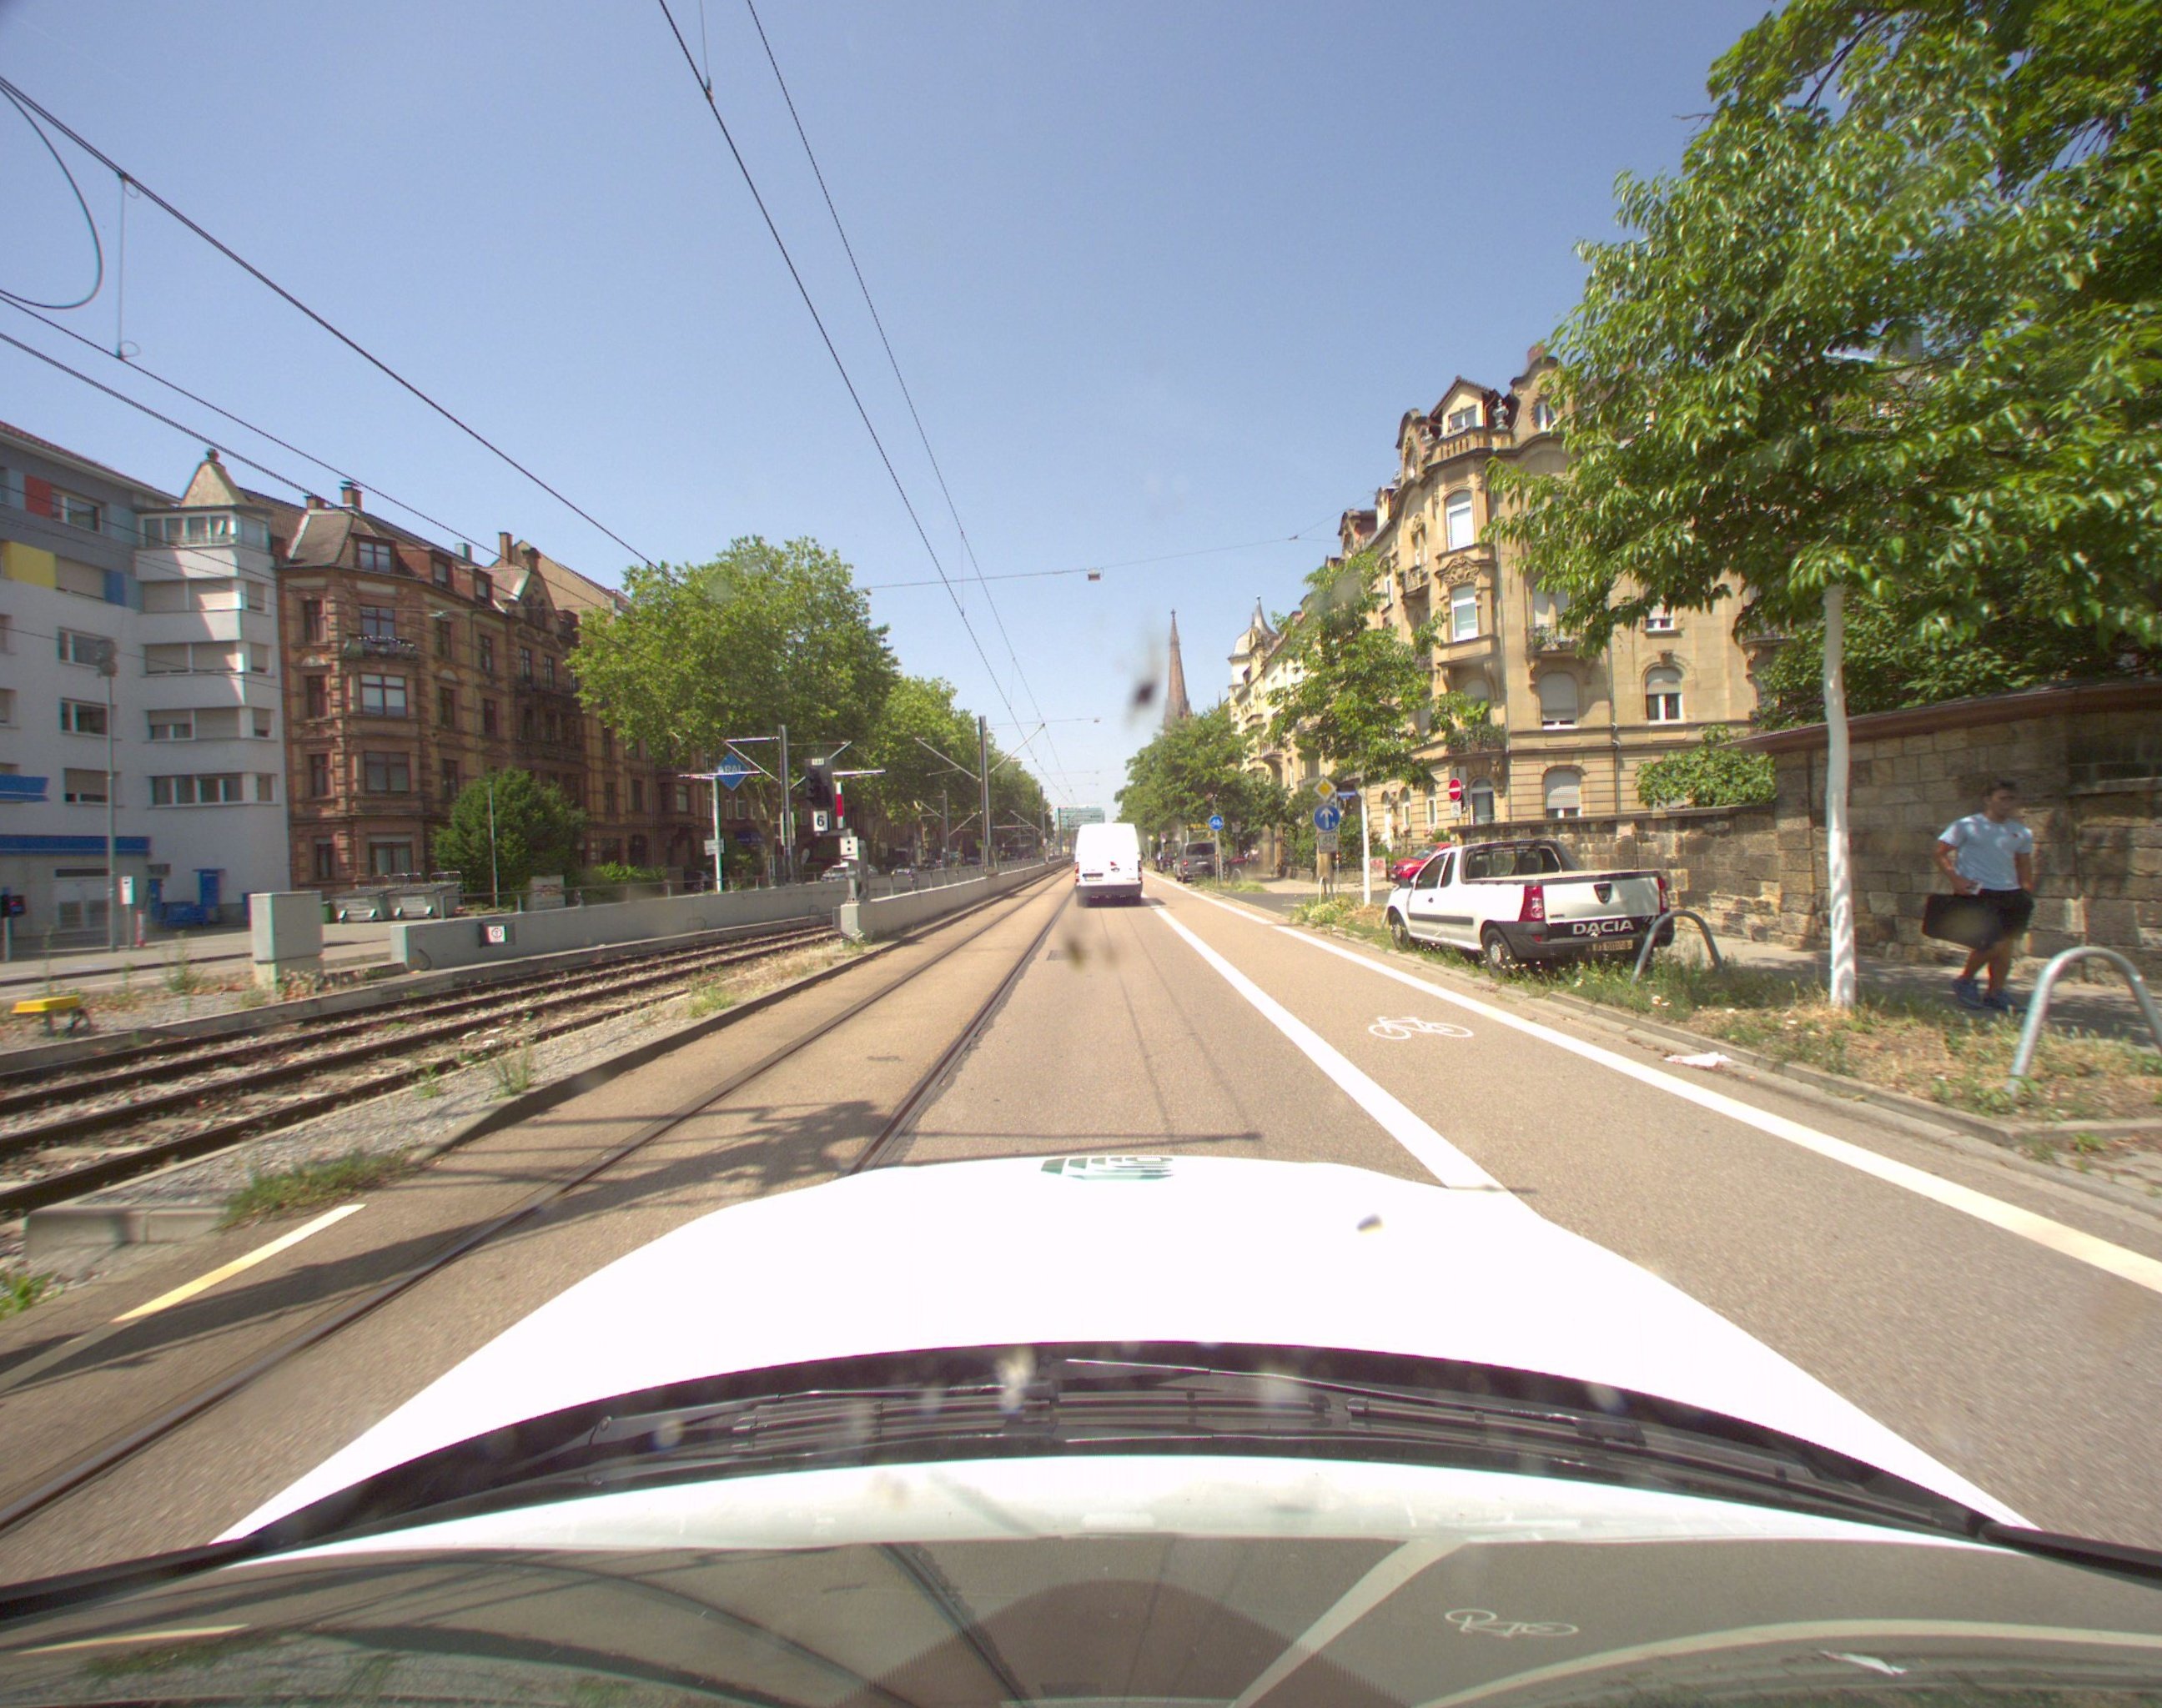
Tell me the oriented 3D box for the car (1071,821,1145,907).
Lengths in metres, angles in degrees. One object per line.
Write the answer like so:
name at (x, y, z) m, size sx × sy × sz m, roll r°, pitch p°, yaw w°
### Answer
car at (0.812, 0.283, 26.534) m, size 2.110 × 2.459 × 5.054 m, roll -2°, pitch 0°, yaw 0°

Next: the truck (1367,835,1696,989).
truck at (5.465, 0.593, 10.684) m, size 1.784 × 1.526 × 4.464 m, roll -2°, pitch 0°, yaw -1°

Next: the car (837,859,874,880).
car at (-18.155, 1.228, 65.713) m, size 1.783 × 1.556 × 4.086 m, roll -2°, pitch 0°, yaw 0°

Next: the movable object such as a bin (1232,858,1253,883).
movable object such as a bin at (6.870, 0.694, 34.650) m, size 0.783 × 1.014 × 0.651 m, roll -2°, pitch 0°, yaw 7°

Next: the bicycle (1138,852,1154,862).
bicycle at (8.049, 0.419, 100.888) m, size 1.882 × 1.182 × 0.640 m, roll -2°, pitch 0°, yaw -1°

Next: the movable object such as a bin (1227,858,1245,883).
movable object such as a bin at (6.828, 0.739, 35.893) m, size 0.742 × 1.062 × 0.497 m, roll -2°, pitch 0°, yaw 7°

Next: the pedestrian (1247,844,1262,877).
pedestrian at (8.515, 0.321, 39.964) m, size 0.549 × 1.598 × 0.728 m, roll -2°, pitch 0°, yaw 3°

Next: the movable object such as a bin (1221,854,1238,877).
movable object such as a bin at (6.693, 0.523, 36.772) m, size 0.595 × 1.011 × 0.564 m, roll -2°, pitch 0°, yaw -9°

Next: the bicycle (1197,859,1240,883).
bicycle at (6.339, 0.771, 37.491) m, size 1.880 × 0.991 × 0.469 m, roll -2°, pitch 0°, yaw -9°

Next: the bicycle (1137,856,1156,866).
bicycle at (6.472, 0.718, 81.081) m, size 1.835 × 0.953 × 0.503 m, roll -2°, pitch 0°, yaw 2°

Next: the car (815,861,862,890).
car at (-18.032, 1.561, 60.784) m, size 1.987 × 1.904 × 4.718 m, roll -2°, pitch 0°, yaw 0°

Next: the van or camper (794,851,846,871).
van or camper at (-26.538, 0.696, 82.886) m, size 4.520 × 1.836 × 1.936 m, roll -2°, pitch 0°, yaw 6°

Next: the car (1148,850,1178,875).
car at (5.603, 0.553, 56.111) m, size 1.661 × 1.530 × 4.014 m, roll -2°, pitch 0°, yaw 1°

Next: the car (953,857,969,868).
car at (-17.277, 1.152, 117.136) m, size 1.586 × 1.448 × 4.001 m, roll -2°, pitch 0°, yaw 1°

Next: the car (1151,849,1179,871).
car at (6.382, 0.423, 62.200) m, size 1.723 × 1.536 × 4.405 m, roll -2°, pitch 0°, yaw 1°

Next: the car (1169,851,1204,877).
car at (6.280, 0.557, 48.612) m, size 1.605 × 1.405 × 4.001 m, roll -2°, pitch 0°, yaw 1°

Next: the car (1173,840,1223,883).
car at (5.888, 0.328, 41.476) m, size 1.872 × 1.947 × 4.838 m, roll -4°, pitch 0°, yaw 1°

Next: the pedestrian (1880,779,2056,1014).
pedestrian at (7.026, 0.320, 6.487) m, size 0.618 × 1.754 × 0.679 m, roll -2°, pitch 0°, yaw 3°

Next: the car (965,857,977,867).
car at (-16.881, 1.233, 124.927) m, size 1.368 × 1.423 × 3.089 m, roll -2°, pitch 0°, yaw 2°

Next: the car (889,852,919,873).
car at (-15.213, 0.719, 70.041) m, size 1.648 × 1.684 × 3.707 m, roll -2°, pitch 0°, yaw 0°

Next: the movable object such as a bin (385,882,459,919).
movable object such as a bin at (-27.326, 1.929, 33.812) m, size 1.777 × 1.385 × 1.469 m, roll -2°, pitch 0°, yaw -1°

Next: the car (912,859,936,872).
car at (-17.893, 1.272, 92.999) m, size 1.846 × 1.401 × 4.197 m, roll -2°, pitch 0°, yaw 0°

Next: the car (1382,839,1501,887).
car at (12.523, 0.304, 28.455) m, size 3.437 × 1.491 × 1.556 m, roll -2°, pitch 0°, yaw 2°
